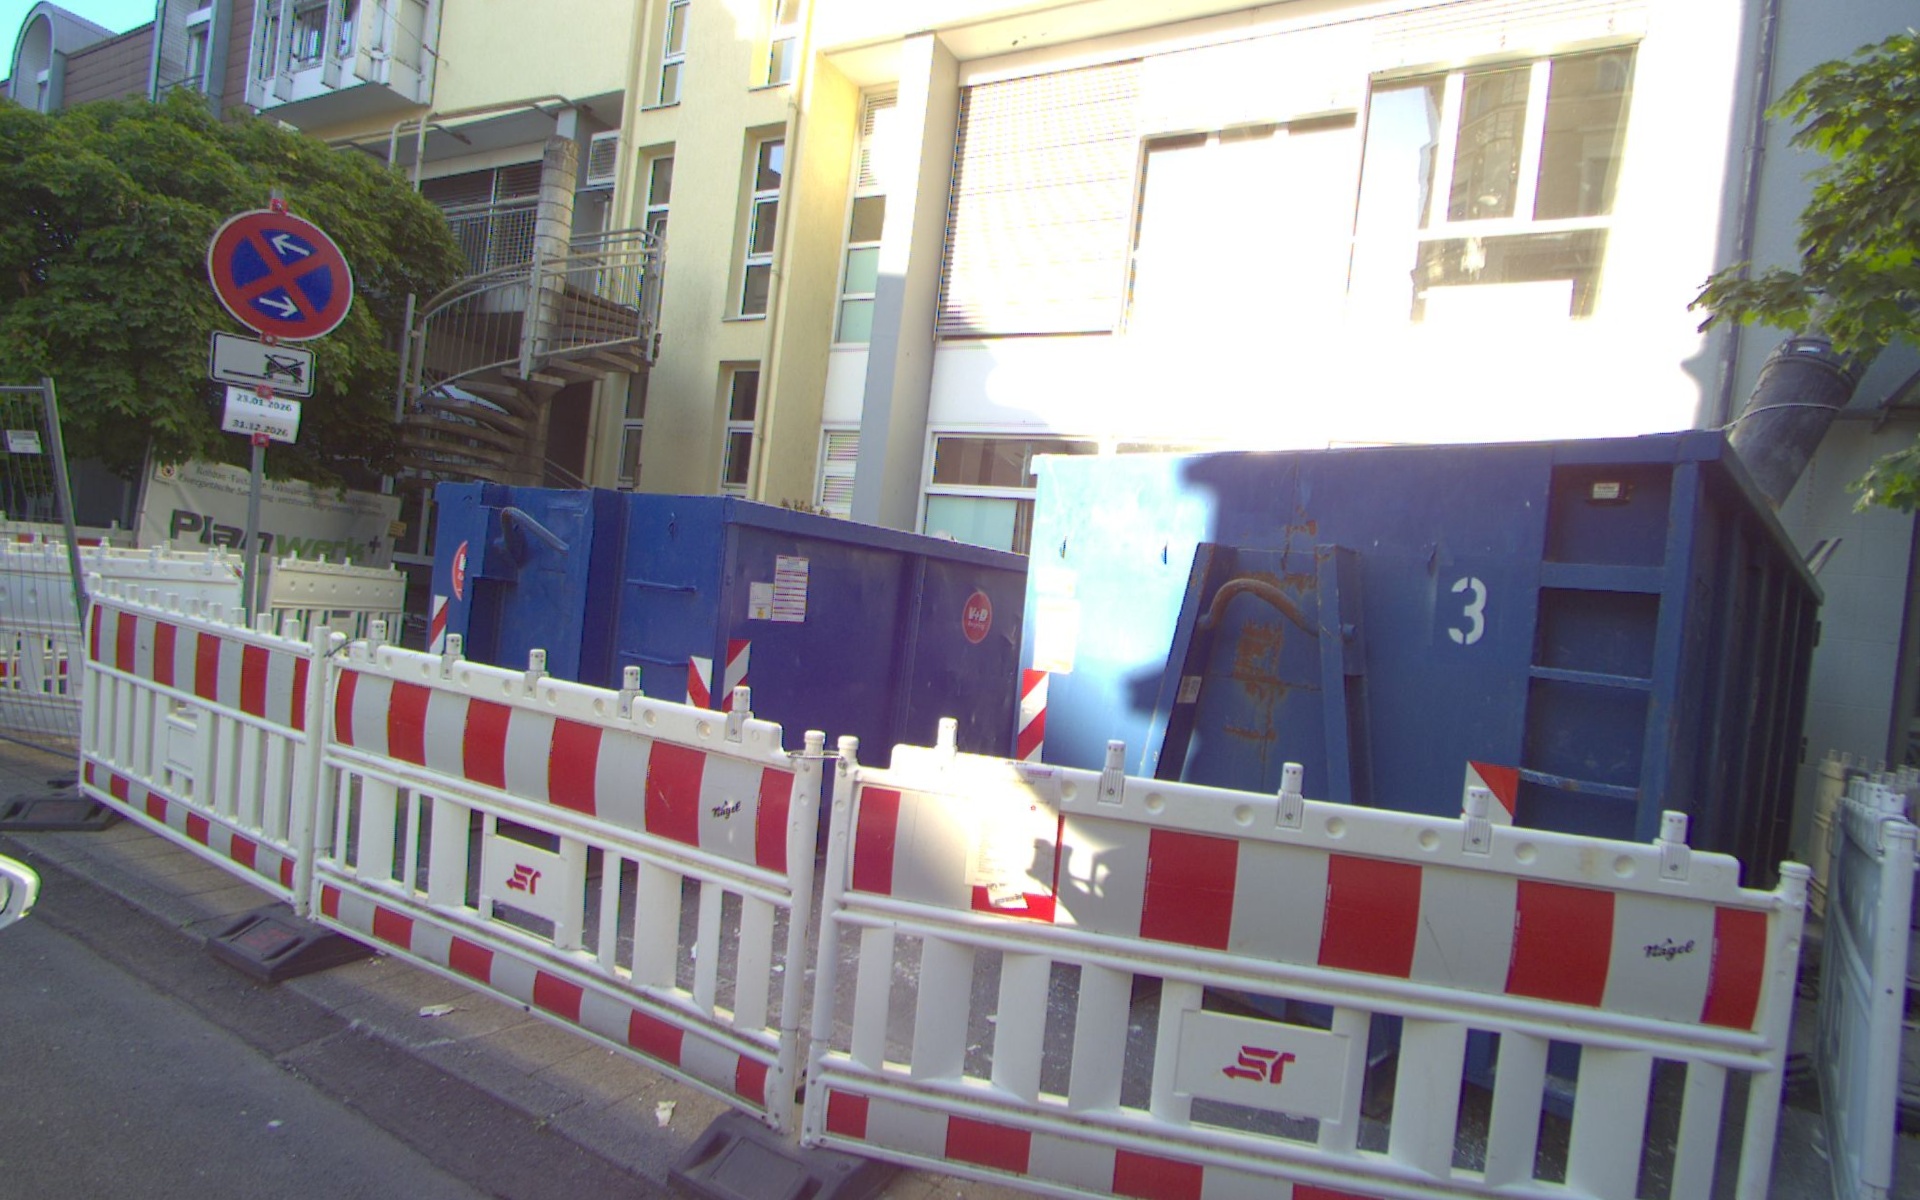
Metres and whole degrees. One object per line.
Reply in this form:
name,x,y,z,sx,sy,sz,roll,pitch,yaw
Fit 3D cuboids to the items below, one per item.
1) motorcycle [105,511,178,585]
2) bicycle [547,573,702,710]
motorcycle,-15.511,-0.998,19.033,0.866,1.237,2.428,6,0,-42
bicycle,-3.492,0.466,10.635,0.539,1.282,1.652,7,-2,18
